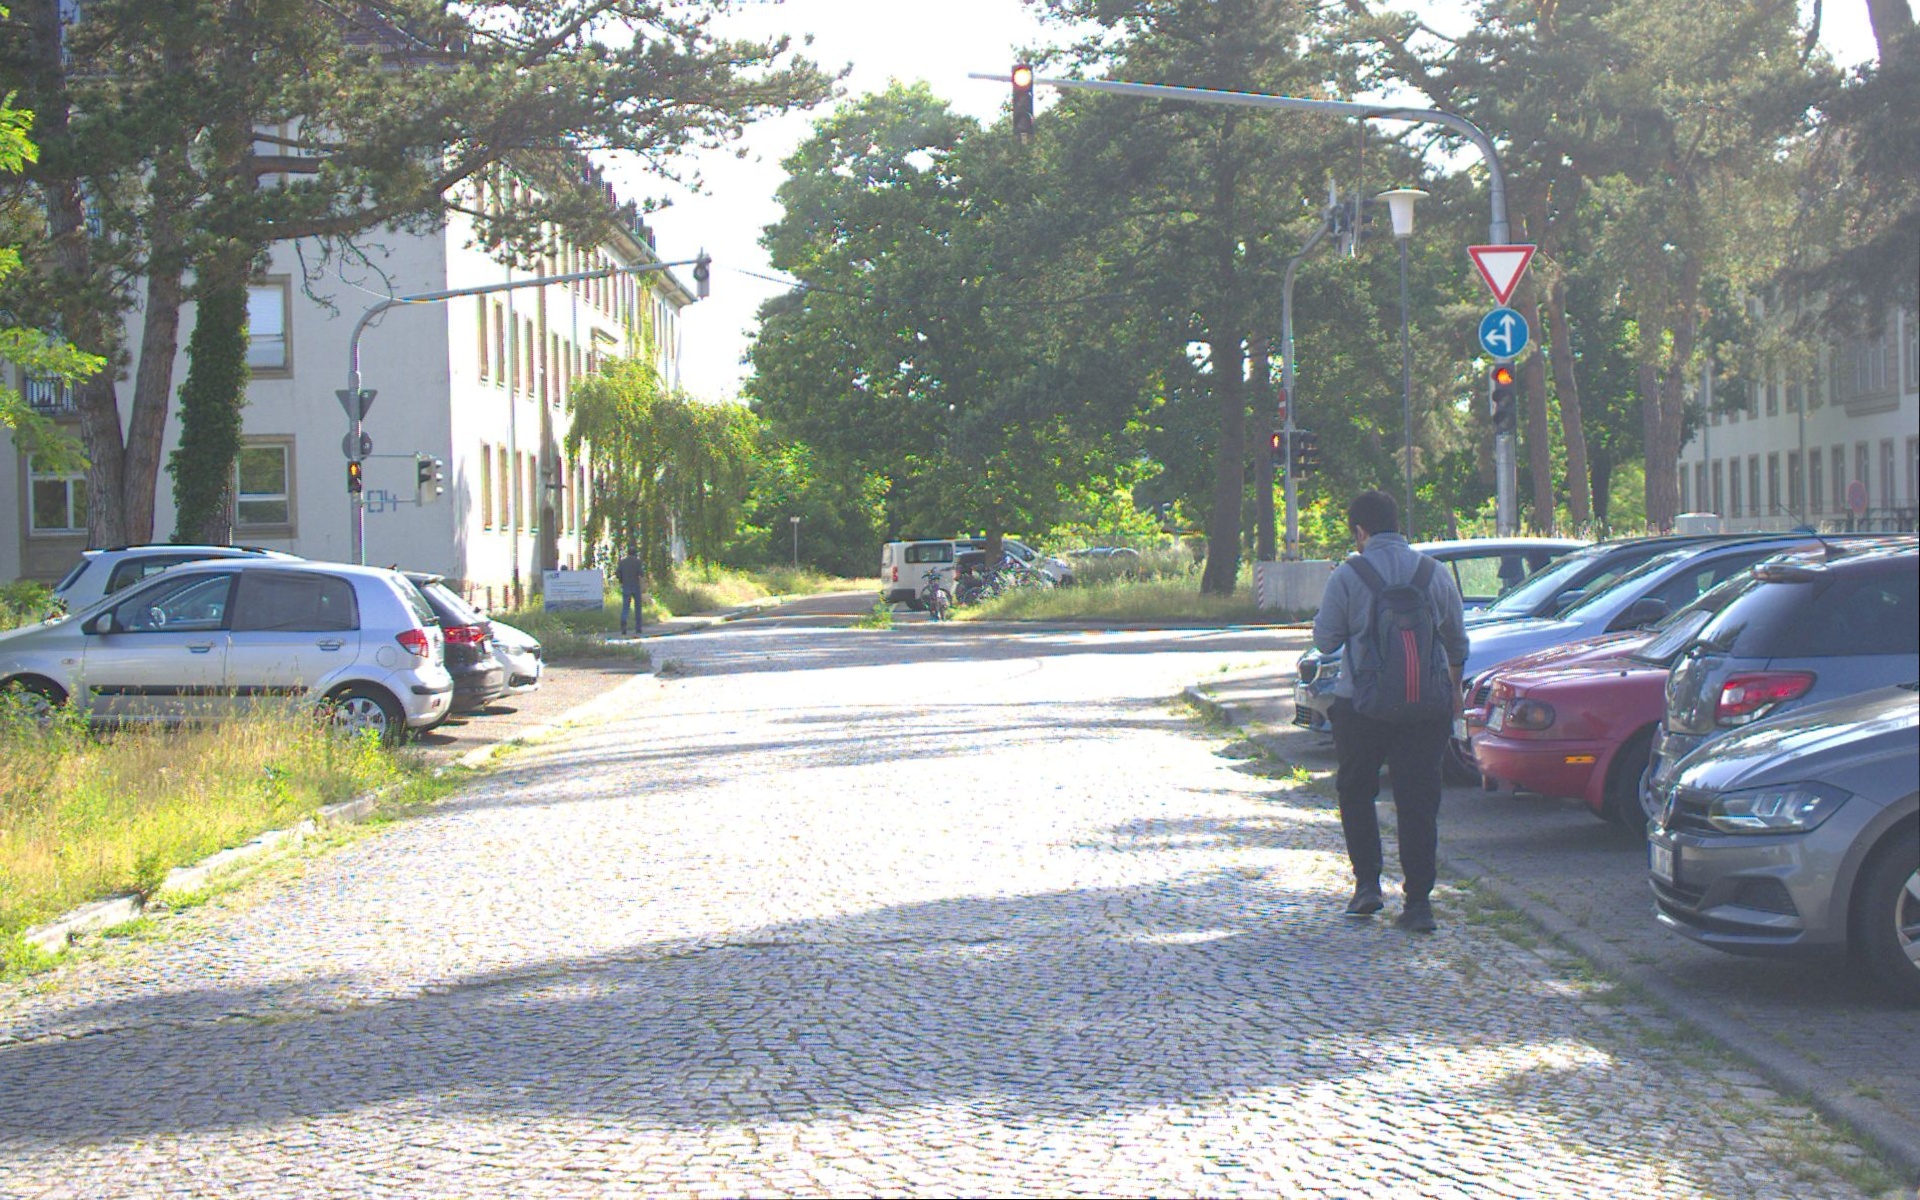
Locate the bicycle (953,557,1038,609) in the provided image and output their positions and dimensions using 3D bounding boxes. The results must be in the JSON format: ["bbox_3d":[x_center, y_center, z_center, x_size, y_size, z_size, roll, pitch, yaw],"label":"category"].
[{"bbox_3d":[0.780,-0.379,76.110,1.834,1.108,0.495,-1,1,-3],"label":"bicycle"}]

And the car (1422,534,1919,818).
[{"bbox_3d":[4.757,0.380,19.555,3.979,1.443,1.656,-2,1,0],"label":"car"}]

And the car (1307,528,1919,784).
[{"bbox_3d":[4.531,0.313,21.821,4.399,1.384,1.789,-3,1,-1],"label":"car"}]

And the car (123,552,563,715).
[{"bbox_3d":[-6.117,0.312,34.337,3.987,1.491,1.772,1,1,5],"label":"car"}]

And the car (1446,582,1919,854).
[{"bbox_3d":[4.272,0.552,17.169,3.460,1.238,1.536,-1,1,0],"label":"car"}]

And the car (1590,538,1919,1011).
[{"bbox_3d":[4.212,0.482,11.701,3.781,1.445,1.758,-2,1,2],"label":"car"}]

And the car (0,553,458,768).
[{"bbox_3d":[-5.799,0.436,26.344,3.685,1.522,1.699,1,1,-2],"label":"car"}]

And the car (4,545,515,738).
[{"bbox_3d":[-5.846,0.327,29.007,3.937,1.440,1.691,2,1,-1],"label":"car"}]

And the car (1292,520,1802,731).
[{"bbox_3d":[4.575,0.179,27.152,3.673,1.438,1.665,-3,1,0],"label":"car"}]

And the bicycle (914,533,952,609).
[{"bbox_3d":[-0.572,-0.625,72.652,0.753,1.575,2.537,-1,1,-1],"label":"bicycle"}]

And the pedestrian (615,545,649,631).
[{"bbox_3d":[-6.732,-0.246,70.550,0.607,1.746,0.630,-1,1,-1],"label":"pedestrian"}]

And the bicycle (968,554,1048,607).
[{"bbox_3d":[1.076,-0.440,77.335,1.727,1.160,0.561,-1,1,-3],"label":"bicycle"}]

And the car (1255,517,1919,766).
[{"bbox_3d":[4.579,0.267,24.730,4.619,1.450,1.870,-3,1,-2],"label":"car"}]

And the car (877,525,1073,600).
[{"bbox_3d":[0.402,-1.044,94.005,5.065,1.911,2.001,-1,1,-9],"label":"car"}]

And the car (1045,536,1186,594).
[{"bbox_3d":[4.406,-1.015,97.917,3.743,1.574,1.742,-1,1,-7],"label":"car"}]

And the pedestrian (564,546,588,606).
[{"bbox_3d":[-10.084,-0.642,90.213,0.606,1.554,0.545,-1,1,-7],"label":"pedestrian"}]

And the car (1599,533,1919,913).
[{"bbox_3d":[4.731,0.419,14.571,3.663,1.450,1.667,-3,1,0],"label":"car"}]

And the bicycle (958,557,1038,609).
[{"bbox_3d":[0.845,-0.388,76.654,1.727,1.108,0.484,-1,1,-3],"label":"bicycle"}]

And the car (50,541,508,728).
[{"bbox_3d":[-6.202,0.295,31.586,3.879,1.610,1.661,1,1,-1],"label":"car"}]

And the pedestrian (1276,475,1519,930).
[{"bbox_3d":[1.732,0.390,13.730,0.753,1.719,0.828,4,1,-1],"label":"pedestrian"}]
